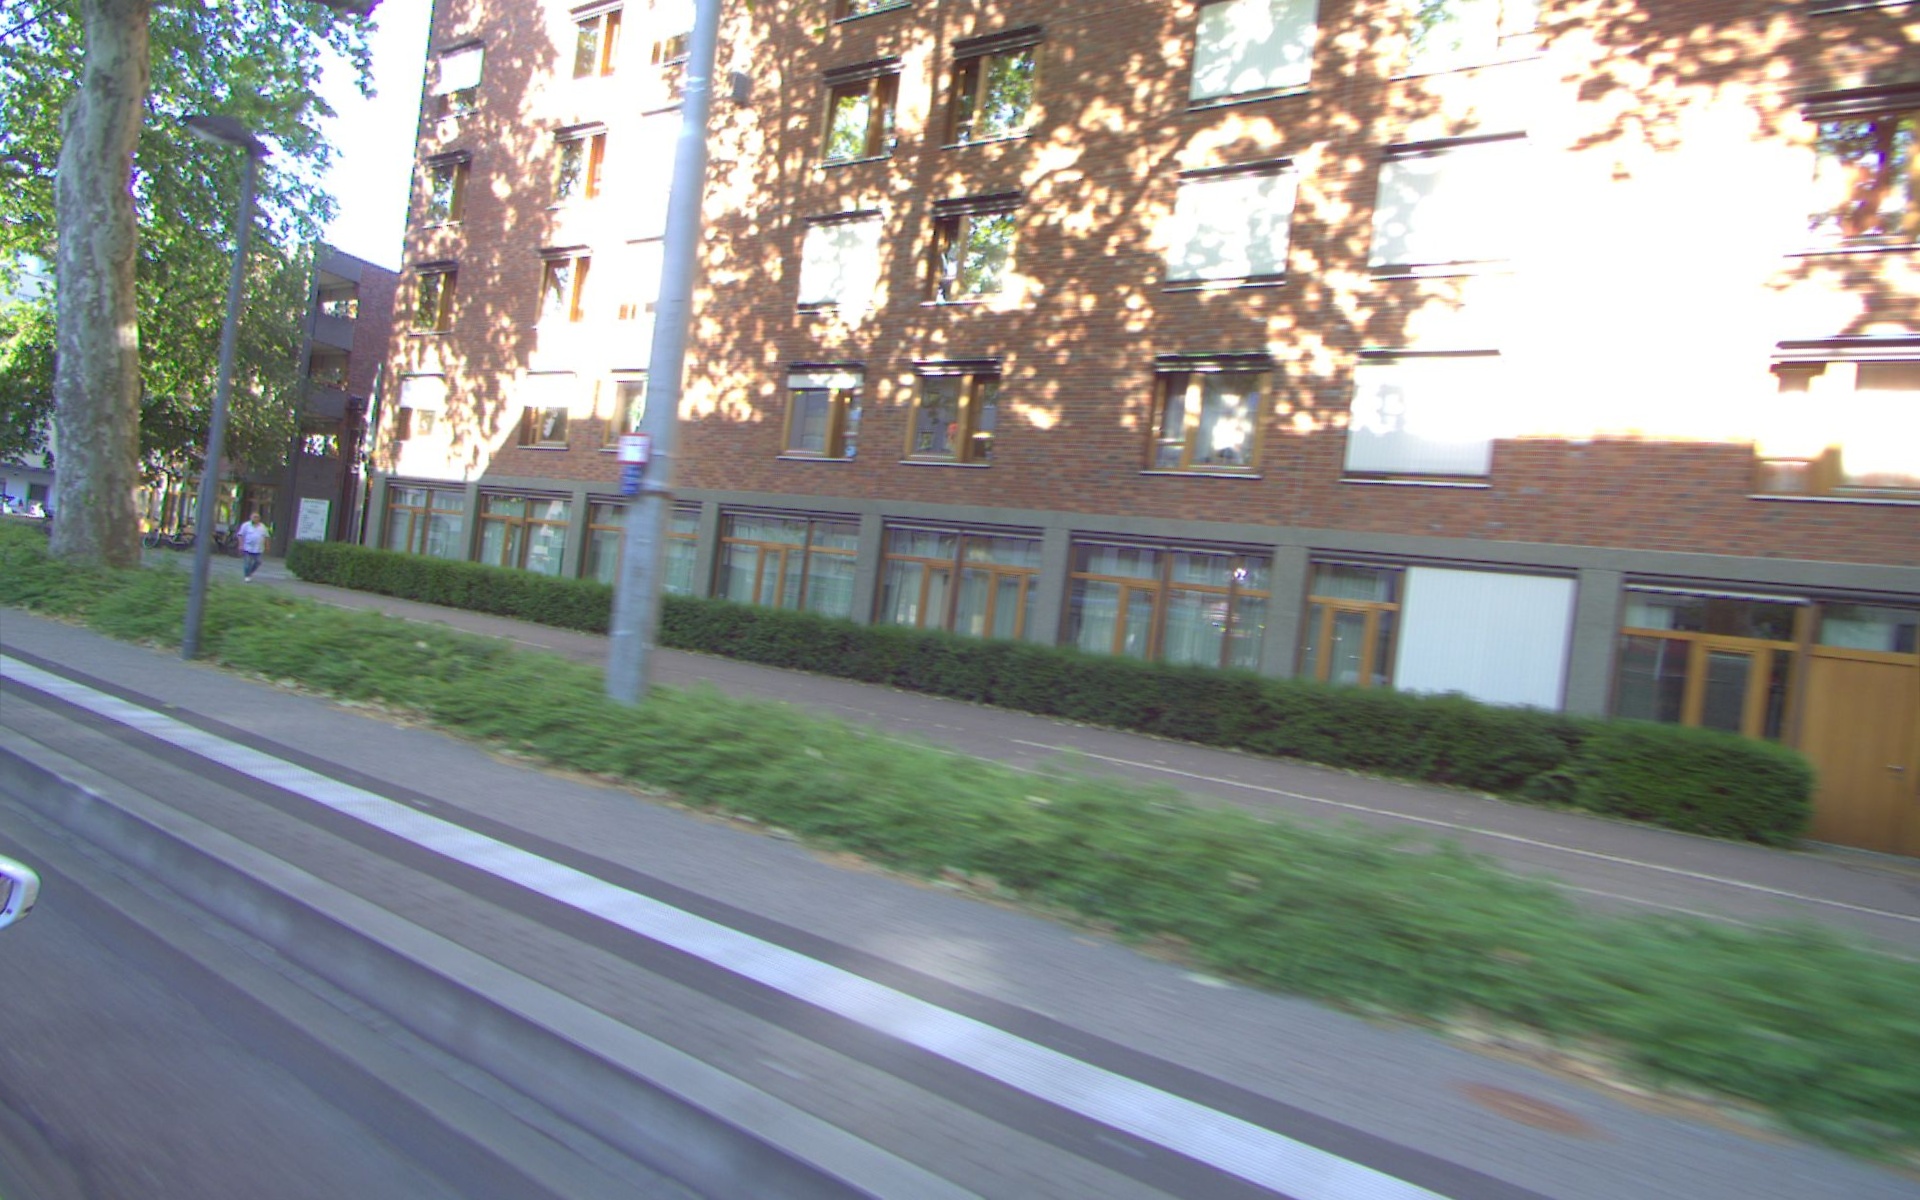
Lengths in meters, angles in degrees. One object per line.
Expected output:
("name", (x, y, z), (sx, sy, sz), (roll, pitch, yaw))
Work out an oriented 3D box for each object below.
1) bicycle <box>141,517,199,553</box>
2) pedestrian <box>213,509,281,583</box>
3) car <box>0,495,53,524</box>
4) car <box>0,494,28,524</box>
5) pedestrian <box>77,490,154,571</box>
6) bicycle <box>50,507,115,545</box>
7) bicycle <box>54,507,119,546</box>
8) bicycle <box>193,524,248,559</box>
("bicycle", (-28.420, -2.325, 36.215), (1.558, 1.050, 0.474), (8, 0, -38))
("pedestrian", (-17.536, -1.321, 24.754), (0.873, 1.643, 0.973), (7, 0, 31))
("car", (-58.466, -5.690, 61.536), (1.836, 1.389, 3.992), (7, -1, 32))
("car", (-51.811, -5.033, 52.679), (1.837, 1.389, 3.991), (7, -1, 33))
("pedestrian", (-19.020, -1.567, 22.665), (0.873, 1.643, 0.973), (7, 0, 31))
("bicycle", (-30.271, -2.557, 34.726), (1.558, 1.050, 0.499), (8, 0, -38))
("bicycle", (-29.596, -2.483, 34.110), (1.558, 1.050, 0.474), (8, 0, -38))
("bicycle", (-27.612, -2.185, 37.600), (1.557, 1.050, 0.474), (8, 0, -36))
